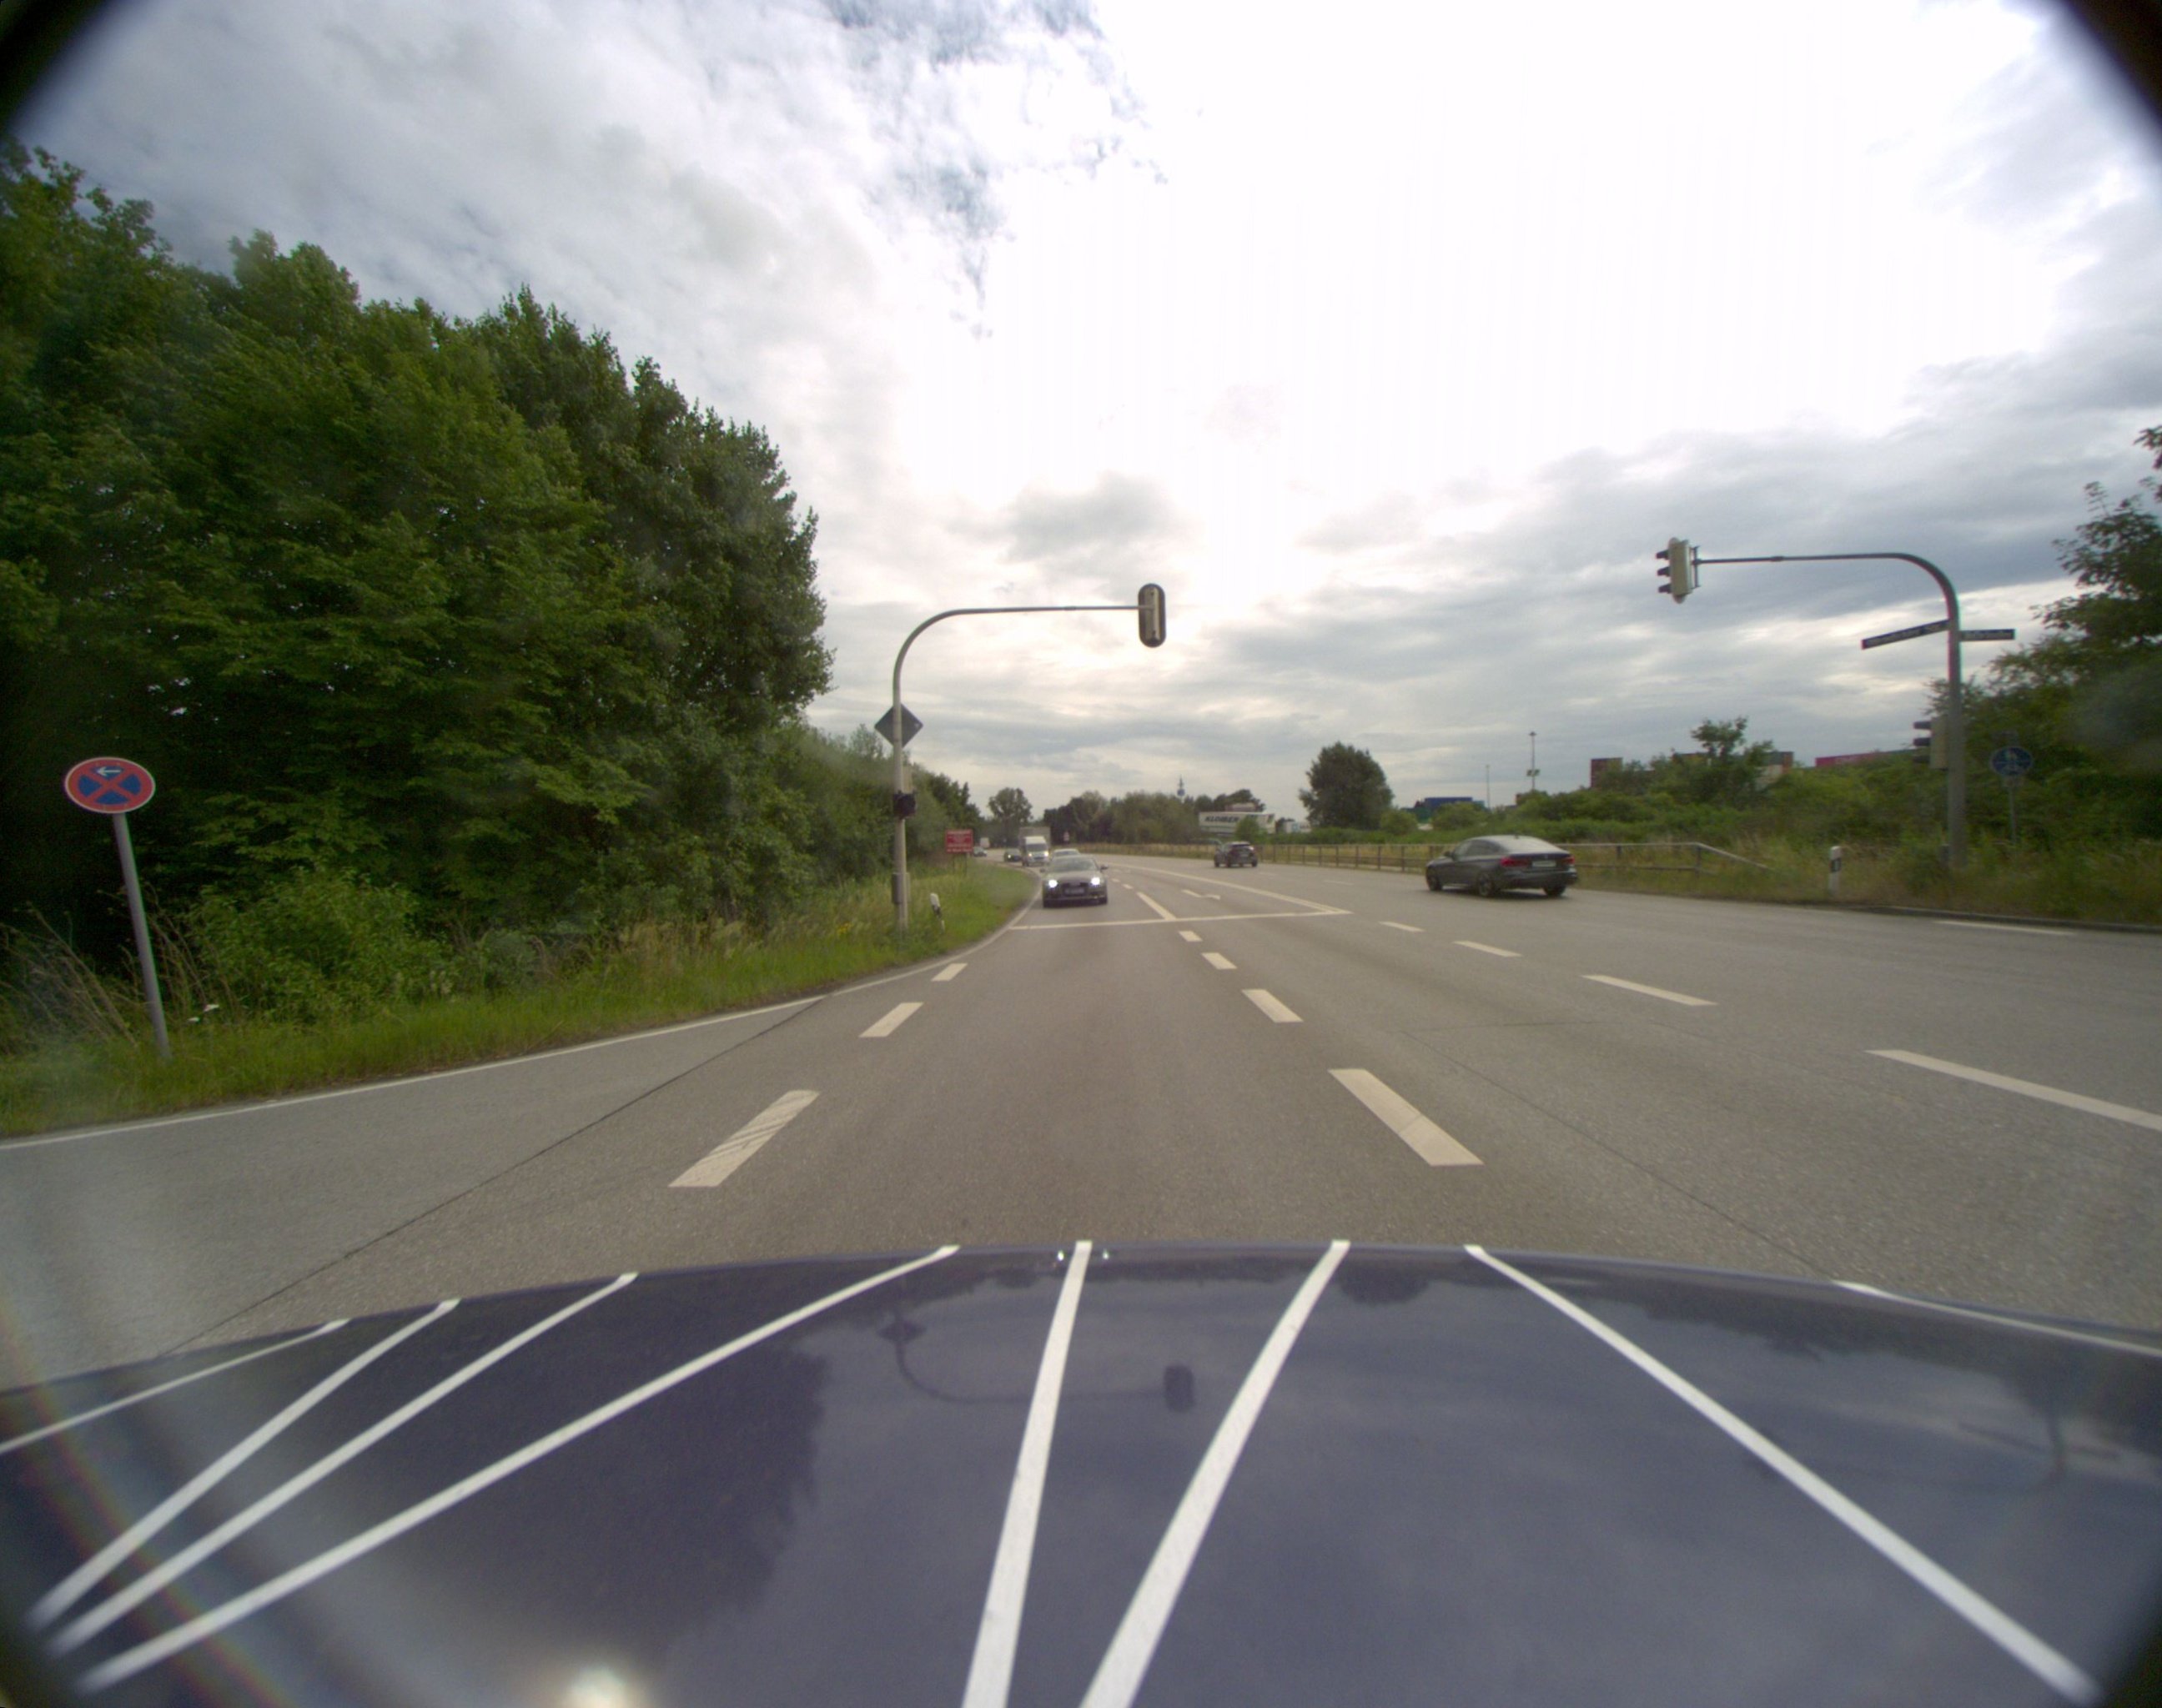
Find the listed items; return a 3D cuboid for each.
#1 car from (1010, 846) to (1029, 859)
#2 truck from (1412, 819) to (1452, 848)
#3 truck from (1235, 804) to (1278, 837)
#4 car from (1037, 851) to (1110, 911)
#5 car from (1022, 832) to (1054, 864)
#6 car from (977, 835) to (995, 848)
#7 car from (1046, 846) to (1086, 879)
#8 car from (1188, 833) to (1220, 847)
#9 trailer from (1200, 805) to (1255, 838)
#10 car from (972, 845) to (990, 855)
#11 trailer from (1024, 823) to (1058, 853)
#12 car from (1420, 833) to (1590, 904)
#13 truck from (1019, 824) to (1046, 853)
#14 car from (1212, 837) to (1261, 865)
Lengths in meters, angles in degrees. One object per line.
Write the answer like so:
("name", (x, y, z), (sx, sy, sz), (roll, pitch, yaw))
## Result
("car", (-6.953, -0.166, 85.359), (1.732, 1.357, 3.995), (-2, 1, -11))
("truck", (55.603, -3.217, 120.480), (5.415, 4.269, 2.202), (-1, 2, 34))
("truck", (28.005, -5.358, 121.550), (2.809, 4.969, 6.173), (-5, 3, -40))
("car", (-0.332, 0.739, 23.184), (1.958, 1.527, 3.998), (-3, 1, -3))
("car", (-3.993, -0.575, 69.824), (2.220, 2.655, 5.234), (-5, 2, -9))
("car", (-21.473, -2.860, 171.298), (2.443, 2.659, 6.875), (-3, 2, -20))
("car", (-0.920, 0.442, 44.070), (2.021, 1.604, 4.277), (-3, 2, -3))
("car", (18.517, -2.143, 114.473), (4.539, 1.865, 2.001), (-2, 2, 11))
("trailer", (24.212, -5.373, 126.118), (2.812, 4.969, 8.959), (-5, 3, -40))
("car", (-14.777, -0.642, 112.090), (1.733, 1.357, 3.992), (-2, 1, -20))
("trailer", (-5.674, -2.186, 106.936), (2.538, 4.078, 6.721), (-3, 1, -22))
("car", (10.585, 0.281, 19.476), (1.792, 1.521, 4.903), (-2, 1, 3))
("truck", (-7.079, -2.197, 110.362), (2.551, 4.073, 3.992), (-3, 2, -23))
("car", (9.453, -0.201, 46.534), (1.797, 1.564, 3.997), (-2, 1, -6))
